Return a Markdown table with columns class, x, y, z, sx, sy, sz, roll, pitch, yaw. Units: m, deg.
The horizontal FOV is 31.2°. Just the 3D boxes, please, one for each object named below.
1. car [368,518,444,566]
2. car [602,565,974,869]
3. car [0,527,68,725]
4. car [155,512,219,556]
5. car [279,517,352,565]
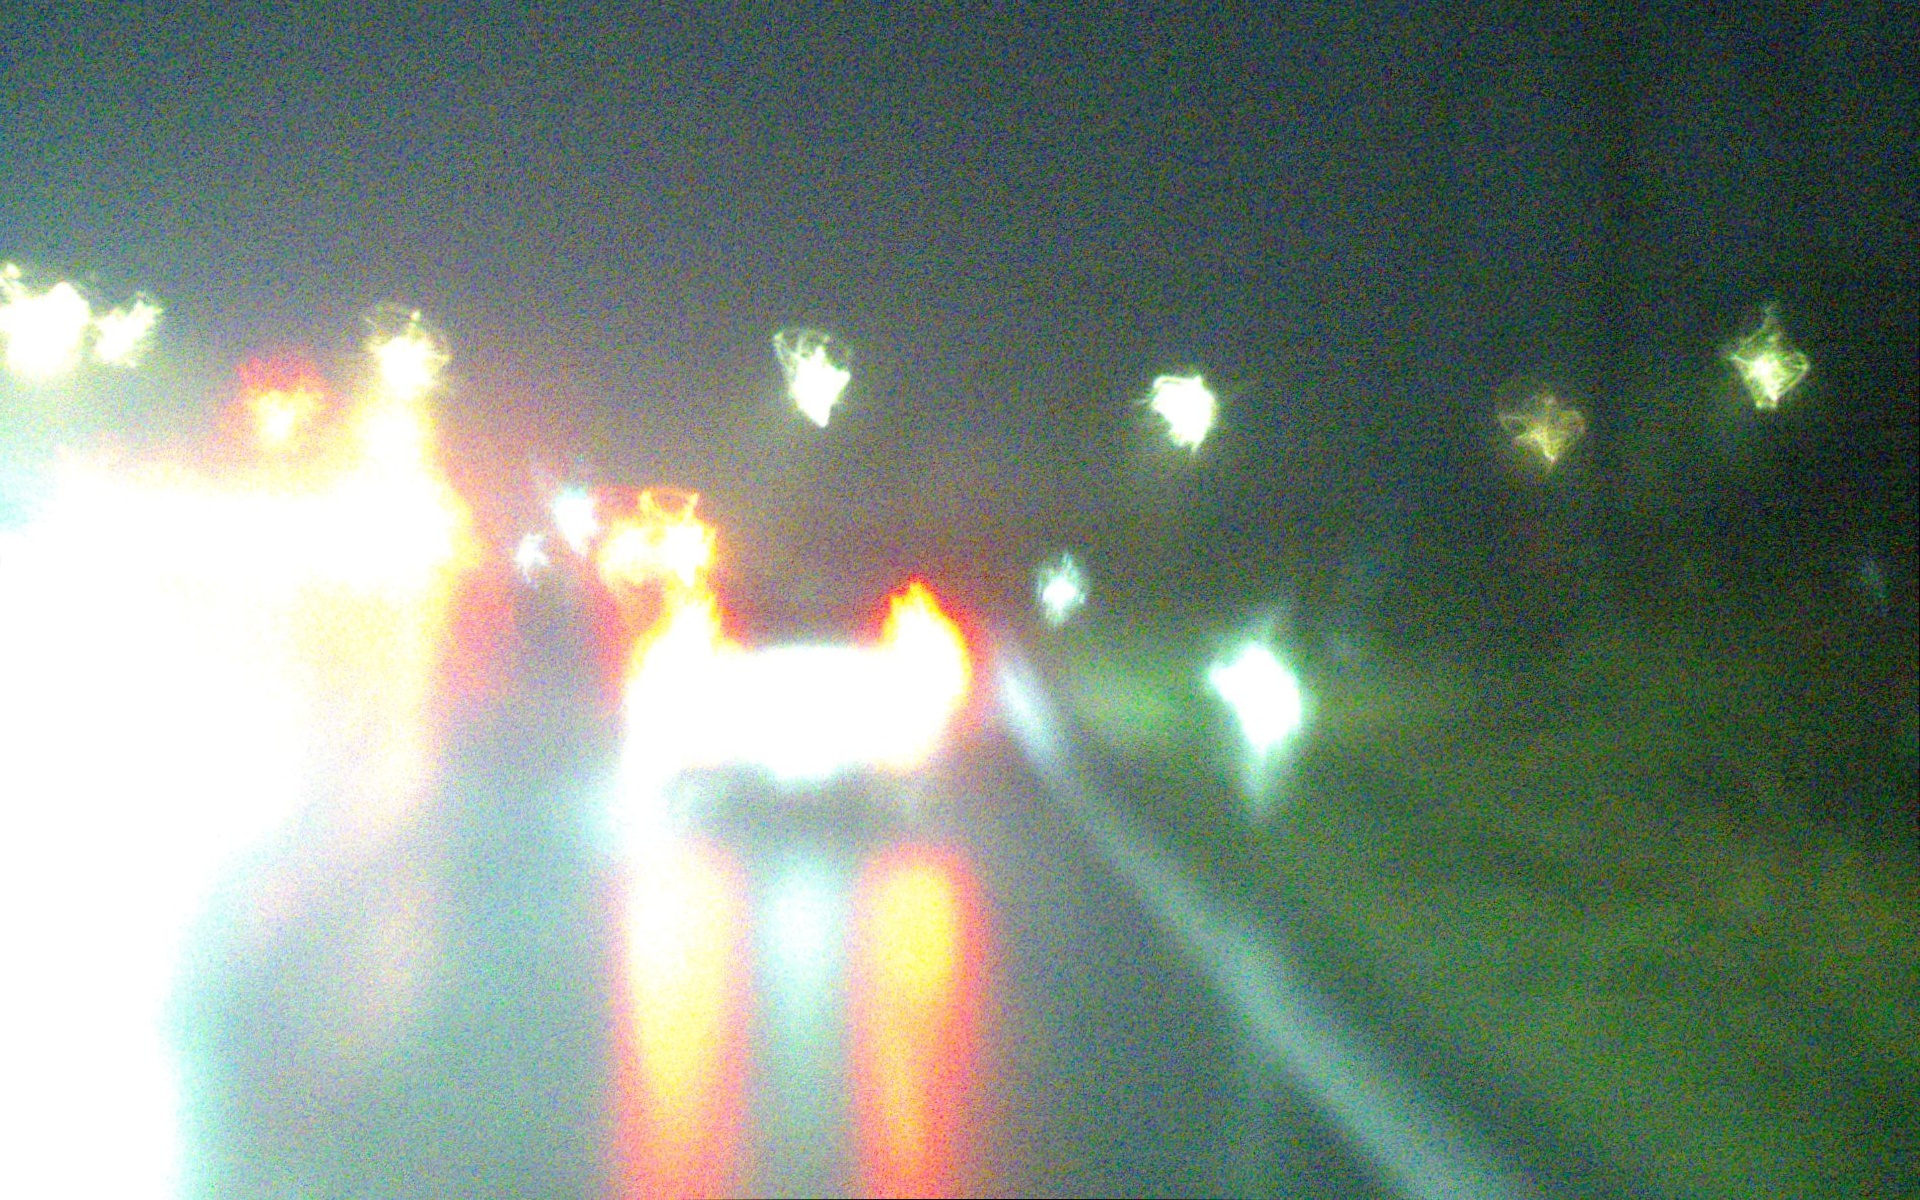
| class | x | y | z | sx | sy | sz | roll | pitch | yaw |
| --- | --- | --- | --- | --- | --- | --- | --- | --- | --- |
| car | -20.535 | -2.163 | 127.344 | 1.993 | 1.622 | 4.986 | -2 | 3 | -18 |
| car | -0.943 | 0.625 | 21.058 | 1.993 | 1.622 | 4.984 | 1 | 0 | 0 |
| car | -9.511 | 0.221 | 32.562 | 1.859 | 1.741 | 4.964 | 0 | 0 | -12 |
| car | -30.805 | -2.652 | 136.902 | 1.993 | 1.622 | 4.986 | -2 | 3 | -18 |
| car | -23.840 | -2.200 | 127.094 | 1.993 | 1.622 | 4.986 | -2 | 3 | -18 |
